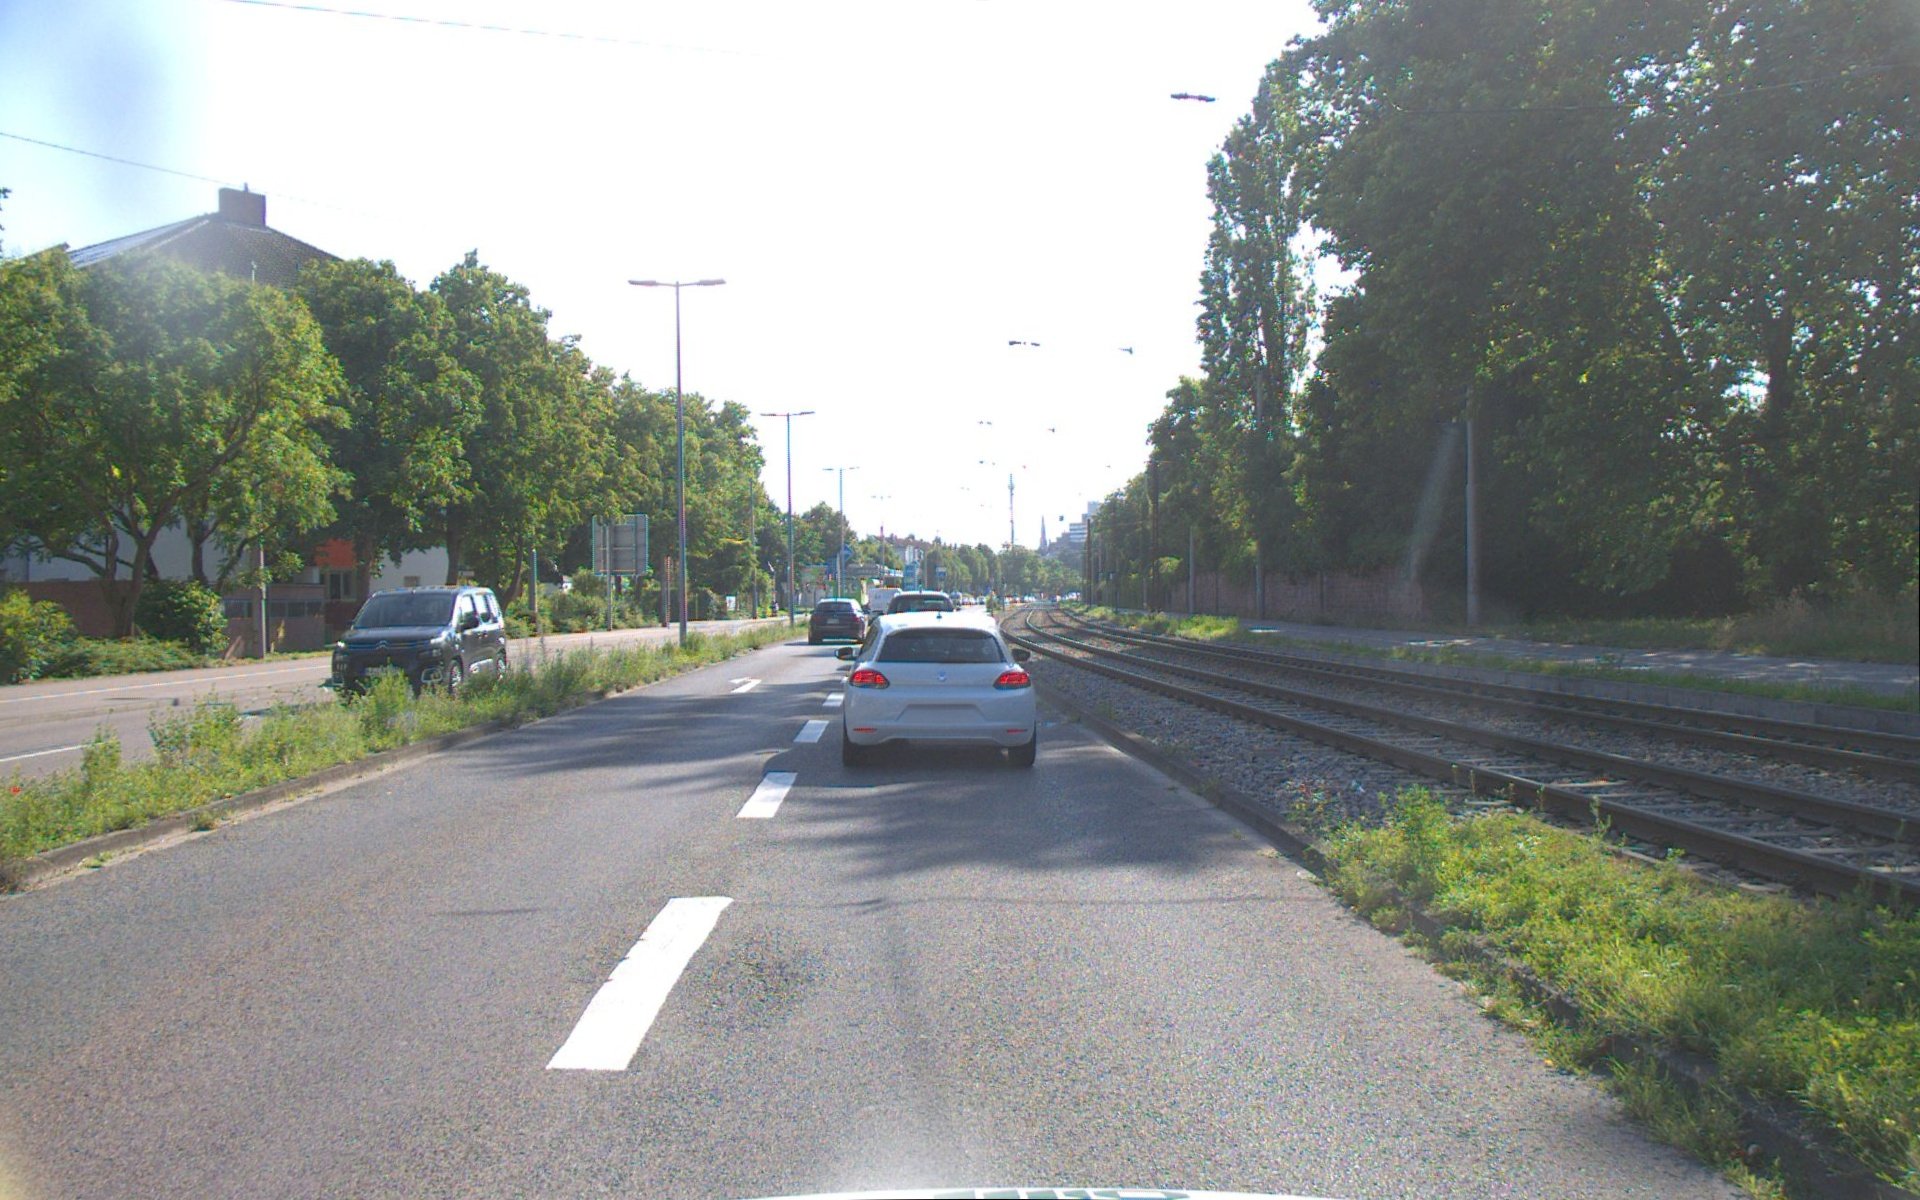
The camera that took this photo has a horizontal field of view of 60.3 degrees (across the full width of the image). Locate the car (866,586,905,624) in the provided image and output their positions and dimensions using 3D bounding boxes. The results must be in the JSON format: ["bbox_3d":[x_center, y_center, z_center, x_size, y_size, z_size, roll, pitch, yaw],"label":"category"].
[{"bbox_3d":[-4.086,0.269,90.896,1.780,1.997,4.403,-1,0,1],"label":"car"}]

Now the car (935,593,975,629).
[{"bbox_3d":[-0.241,0.470,72.236,1.713,1.512,3.600,1,0,-1],"label":"car"}]

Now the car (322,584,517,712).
[{"bbox_3d":[-8.482,0.694,26.377,1.754,1.815,4.478,-1,0,-2],"label":"car"}]

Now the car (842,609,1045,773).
[{"bbox_3d":[-0.168,0.803,16.145,1.744,1.380,3.600,1,0,-1],"label":"car"}]

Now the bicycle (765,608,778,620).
[{"bbox_3d":[-17.555,1.304,154.163,0.647,1.068,2.582,-1,0,6],"label":"bicycle"}]

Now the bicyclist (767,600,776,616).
[{"bbox_3d":[-17.570,0.759,154.137,0.648,1.478,1.051,-1,0,6],"label":"bicyclist"}]

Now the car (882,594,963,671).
[{"bbox_3d":[-0.817,0.684,36.874,1.689,1.620,3.600,1,0,-1],"label":"car"}]

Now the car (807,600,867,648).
[{"bbox_3d":[-4.086,0.761,55.486,1.724,1.512,4.644,1,0,-1],"label":"car"}]
